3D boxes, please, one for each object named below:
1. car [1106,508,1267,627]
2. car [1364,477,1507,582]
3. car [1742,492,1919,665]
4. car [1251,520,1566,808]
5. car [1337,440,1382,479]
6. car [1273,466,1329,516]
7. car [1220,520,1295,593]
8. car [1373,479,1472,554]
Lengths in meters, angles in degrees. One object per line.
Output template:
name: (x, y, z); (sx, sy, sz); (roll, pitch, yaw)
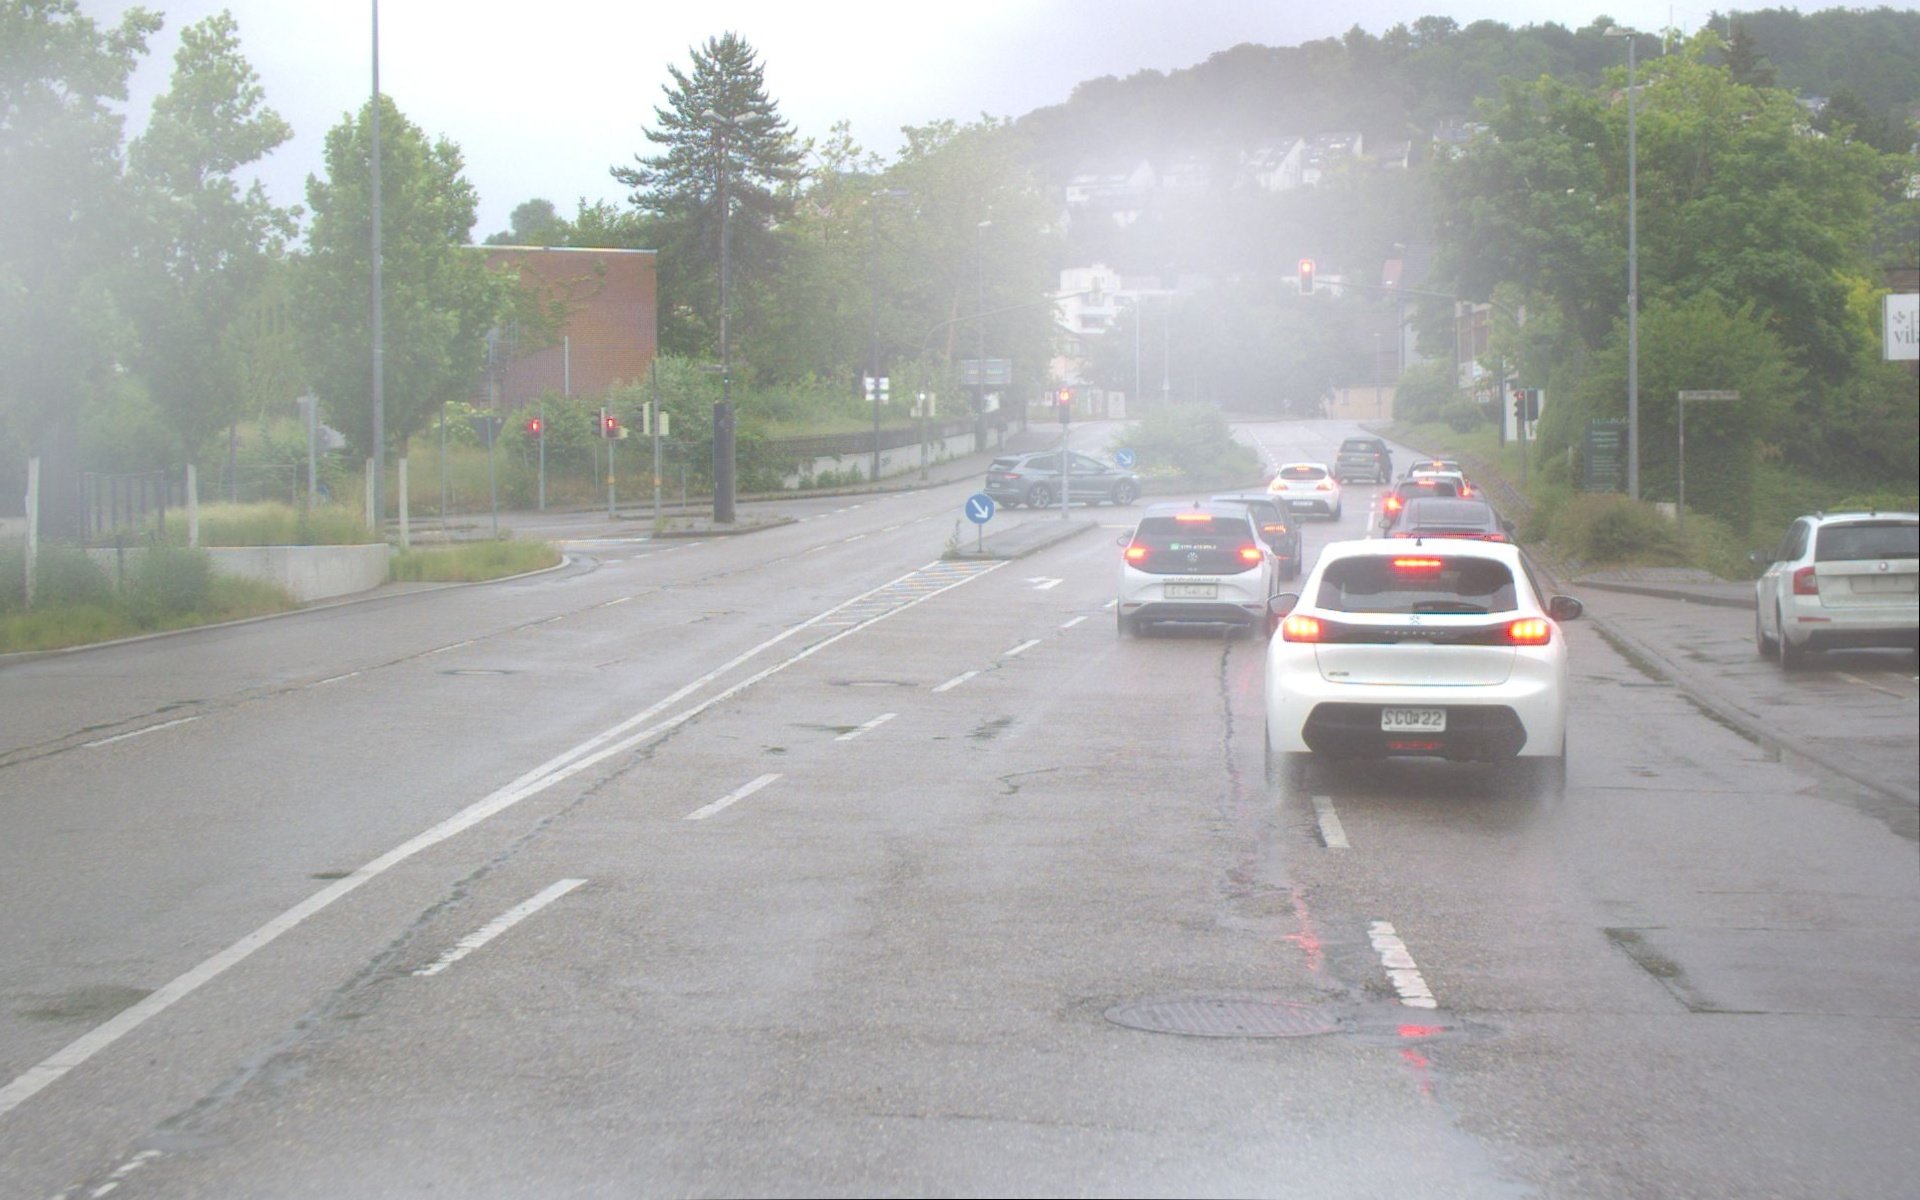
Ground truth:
car: (2.684, -0.378, 40.090); (1.741, 1.291, 3.333); (-1, 1, 6)
car: (7.134, -1.086, 51.832); (1.734, 1.383, 3.353); (1, 4, 1)
car: (8.632, -0.263, 33.294); (1.731, 1.492, 4.479); (-2, 2, 9)
car: (2.717, 0.296, 20.645); (1.691, 1.514, 3.932); (0, 2, 8)
car: (13.204, -4.654, 113.807); (1.366, 1.153, 2.426); (-1, 0, 4)
car: (8.676, -2.760, 87.480); (1.385, 1.123, 2.609); (-1, -1, 6)
car: (4.983, -0.721, 57.628); (1.213, 1.152, 2.270); (-1, -1, 5)
car: (9.941, -1.786, 74.149); (1.648, 1.480, 3.366); (-1, -1, 0)
